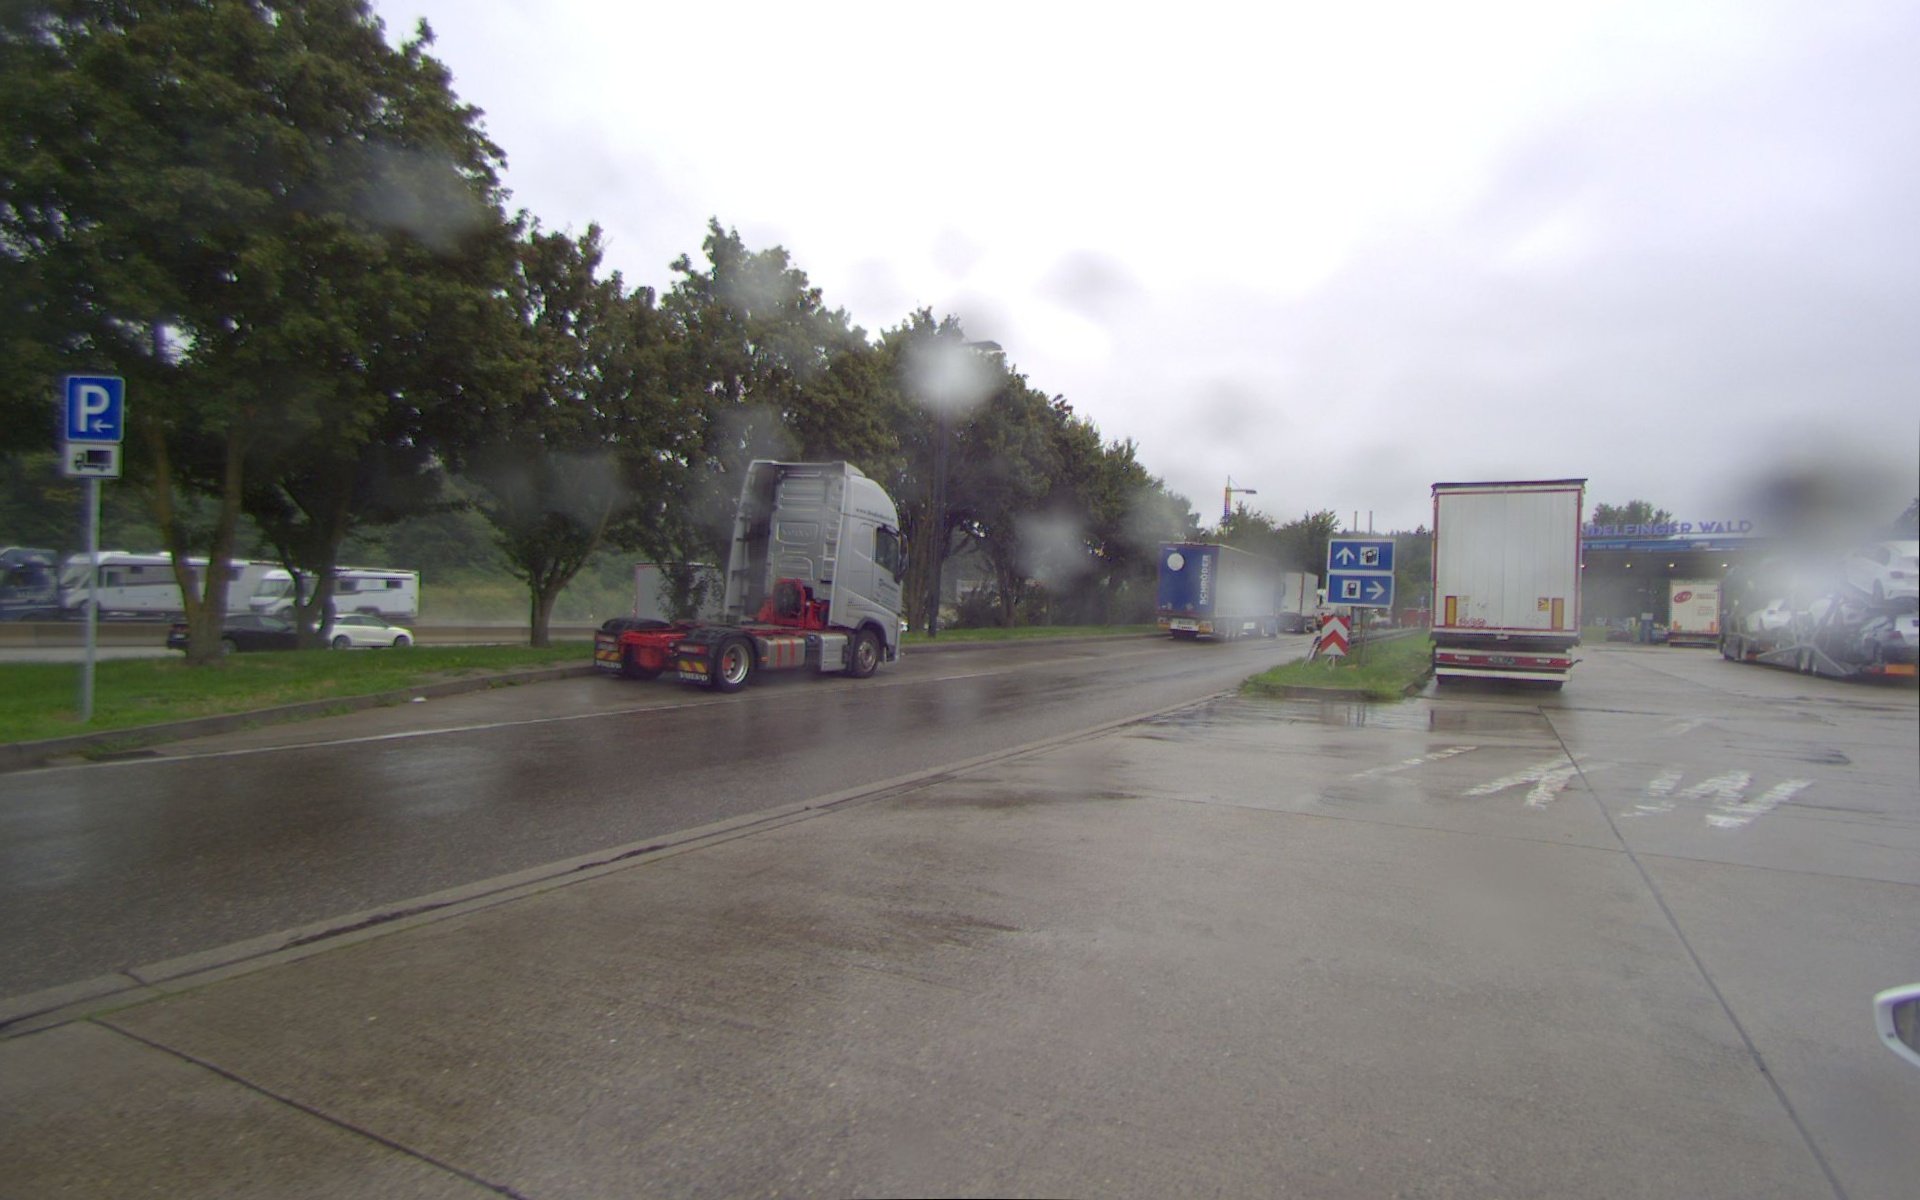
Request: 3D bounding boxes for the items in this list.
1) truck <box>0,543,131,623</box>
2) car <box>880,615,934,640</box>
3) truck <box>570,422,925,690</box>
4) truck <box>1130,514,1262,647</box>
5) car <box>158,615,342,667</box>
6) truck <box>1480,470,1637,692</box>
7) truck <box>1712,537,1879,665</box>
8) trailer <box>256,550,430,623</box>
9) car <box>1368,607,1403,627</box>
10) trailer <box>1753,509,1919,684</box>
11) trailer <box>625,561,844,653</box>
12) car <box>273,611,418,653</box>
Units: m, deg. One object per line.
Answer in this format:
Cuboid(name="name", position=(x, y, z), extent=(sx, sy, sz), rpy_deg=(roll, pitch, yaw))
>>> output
Cuboid(name="truck", position=(-39.607, -0.722, 43.674), extent=(2.203, 3.200, 4.932), rpy_deg=(5, 1, 21))
Cuboid(name="car", position=(-3.424, 1.790, 65.973), extent=(1.879, 1.571, 3.997), rpy_deg=(1, -1, 25))
Cuboid(name="truck", position=(-3.492, -0.643, 18.265), extent=(2.871, 3.956, 6.307), rpy_deg=(2, 0, 28))
Cuboid(name="truck", position=(11.227, -0.784, 46.547), extent=(4.712, 5.376, 11.070), rpy_deg=(2, 0, 19))
Cuboid(name="car", position=(-22.891, 1.320, 32.586), extent=(1.850, 1.500, 4.500), rpy_deg=(2, -2, 25))
Cuboid(name="truck", position=(13.759, -0.296, 23.885), extent=(2.334, 3.926, 12.438), rpy_deg=(1, 0, 27))
Cuboid(name="truck", position=(31.249, 0.003, 38.022), extent=(3.186, 4.245, 8.428), rpy_deg=(3, 1, 29))
Cuboid(name="trailer", position=(-34.502, -0.665, 56.661), extent=(2.195, 3.702, 8.533), rpy_deg=(5, 1, 22))
Cuboid(name="car", position=(34.720, 1.390, 81.919), extent=(1.853, 1.481, 3.988), rpy_deg=(3, 0, 34))
Cuboid(name="trailer", position=(26.380, -0.043, 29.306), extent=(3.168, 4.245, 11.508), rpy_deg=(3, 1, 29))
Cuboid(name="trailer", position=(-10.838, 0.587, 51.079), extent=(2.849, 4.035, 14.110), rpy_deg=(0, -2, 24))
Cuboid(name="car", position=(-23.967, 1.283, 39.369), extent=(1.851, 1.500, 4.497), rpy_deg=(1, -2, 28))
